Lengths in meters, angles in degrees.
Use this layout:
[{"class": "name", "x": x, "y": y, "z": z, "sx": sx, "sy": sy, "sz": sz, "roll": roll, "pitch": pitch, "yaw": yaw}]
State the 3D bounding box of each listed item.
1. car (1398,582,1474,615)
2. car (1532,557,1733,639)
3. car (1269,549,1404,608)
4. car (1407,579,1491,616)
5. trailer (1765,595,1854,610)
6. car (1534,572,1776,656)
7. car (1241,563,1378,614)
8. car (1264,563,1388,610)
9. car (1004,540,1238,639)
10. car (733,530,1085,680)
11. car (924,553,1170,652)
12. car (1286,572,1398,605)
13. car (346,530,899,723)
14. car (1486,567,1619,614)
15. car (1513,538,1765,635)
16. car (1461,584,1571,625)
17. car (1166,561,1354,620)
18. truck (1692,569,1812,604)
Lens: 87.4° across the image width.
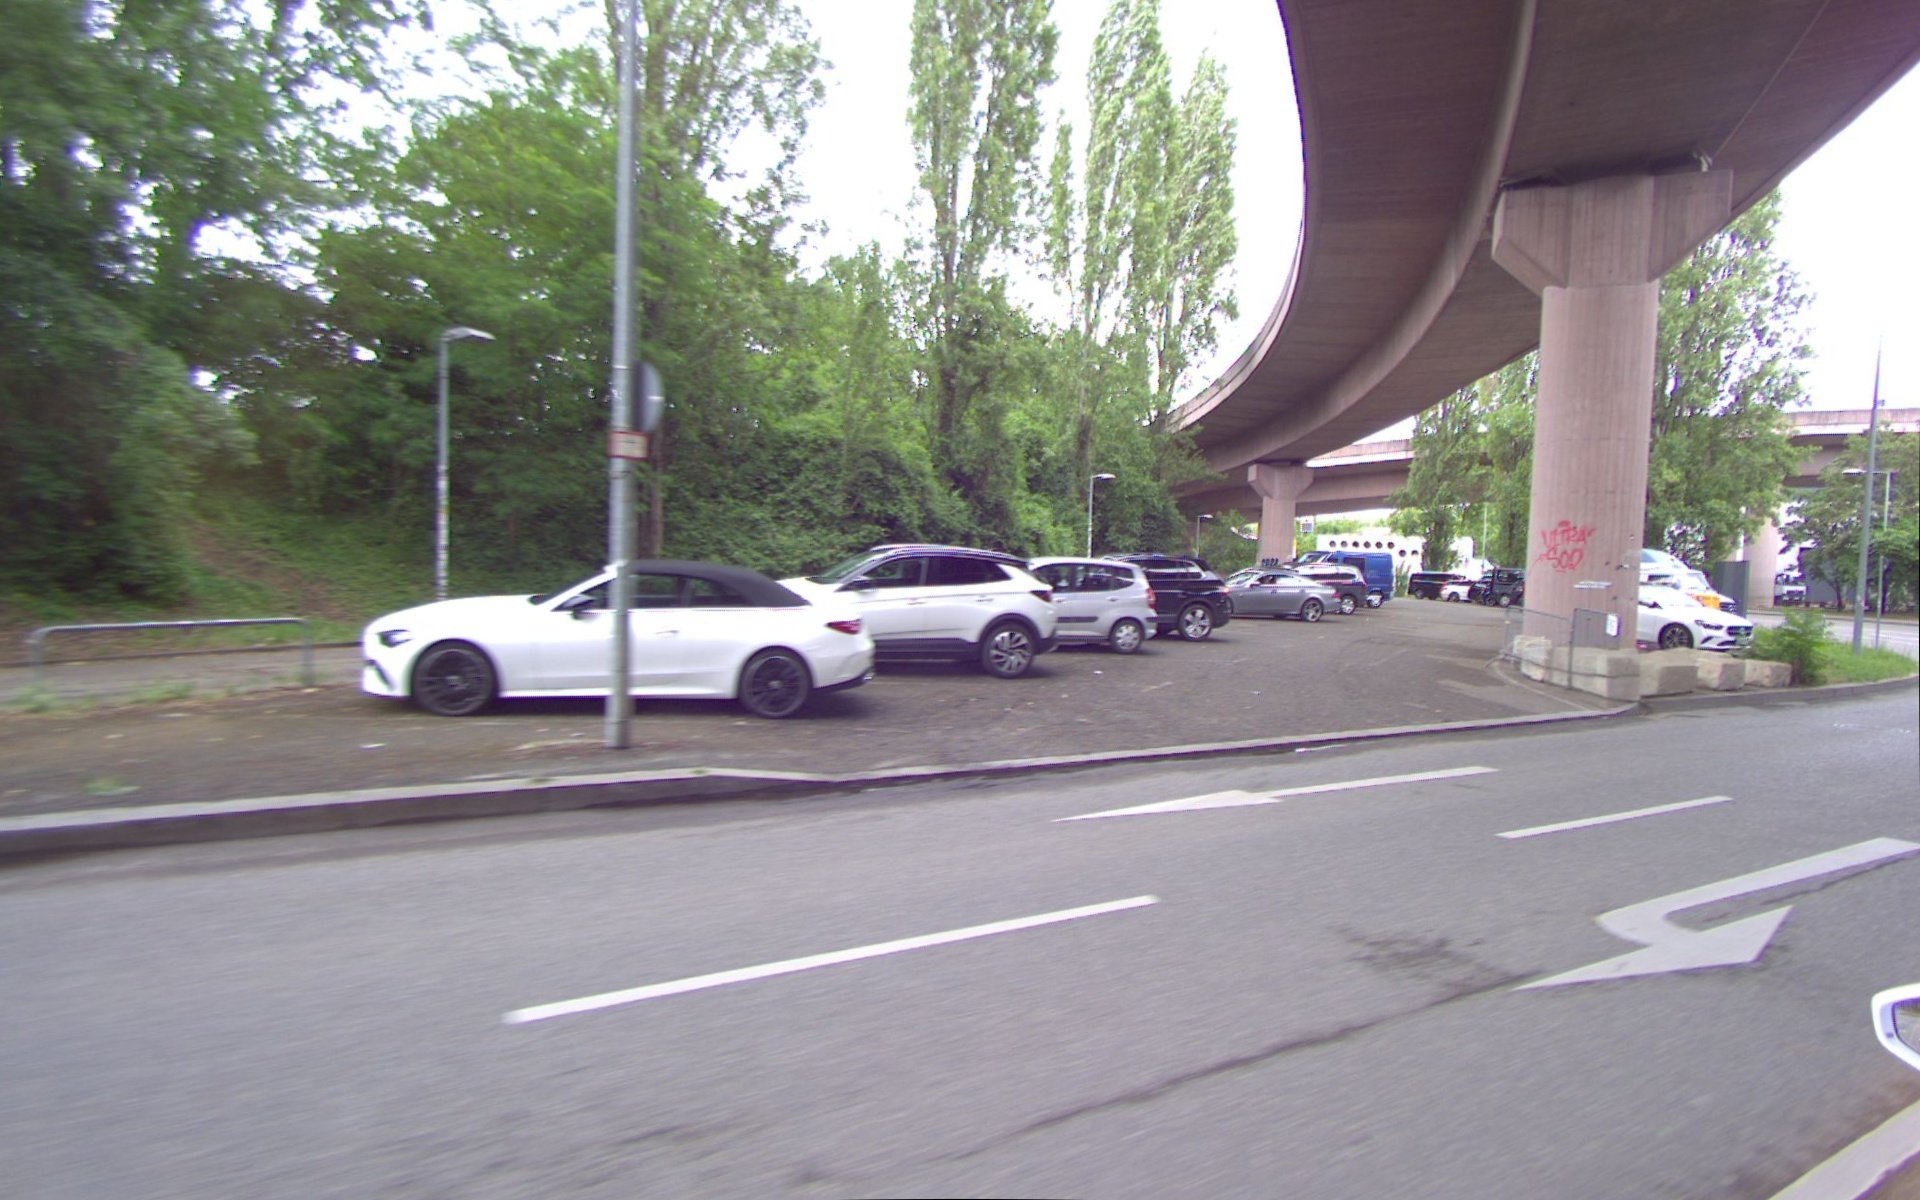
[{"class": "car", "x": 30.293, "y": -0.104, "z": 63.980, "sx": 3.942, "sy": 2.041, "sz": 1.989, "roll": 1, "pitch": 1, "yaw": 42}, {"class": "car", "x": 19.721, "y": -0.130, "z": 29.686, "sx": 1.828, "sy": 2.140, "sz": 4.536, "roll": 1, "pitch": 3, "yaw": -28}, {"class": "car", "x": 15.488, "y": -0.867, "z": 41.382, "sx": 4.936, "sy": 2.285, "sz": 2.117, "roll": 1, "pitch": 1, "yaw": -16}, {"class": "car", "x": 28.144, "y": -0.152, "z": 57.813, "sx": 3.942, "sy": 2.041, "sz": 1.989, "roll": 1, "pitch": 1, "yaw": 42}, {"class": "trailer", "x": 59.491, "y": 0.155, "z": 70.524, "sx": 2.112, "sy": 0.753, "sz": 6.296, "roll": -2, "pitch": 1, "yaw": 13}, {"class": "car", "x": 16.604, "y": 0.260, "z": 24.279, "sx": 1.927, "sy": 1.628, "sz": 4.368, "roll": 1, "pitch": 4, "yaw": -24}, {"class": "car", "x": 12.076, "y": -0.388, "z": 34.823, "sx": 4.081, "sy": 1.698, "sz": 1.897, "roll": 1, "pitch": 1, "yaw": -12}, {"class": "car", "x": 13.930, "y": -0.512, "z": 38.303, "sx": 4.083, "sy": 1.698, "sz": 1.896, "roll": 1, "pitch": 1, "yaw": -13}, {"class": "car", "x": 3.101, "y": -0.205, "z": 19.687, "sx": 4.093, "sy": 1.714, "sz": 1.857, "roll": 2, "pitch": 2, "yaw": -14}, {"class": "car", "x": -0.755, "y": 0.050, "z": 13.506, "sx": 4.329, "sy": 1.604, "sz": 1.992, "roll": 3, "pitch": 5, "yaw": -16}, {"class": "car", "x": 1.399, "y": 0.026, "z": 16.728, "sx": 3.683, "sy": 1.473, "sz": 1.787, "roll": 1, "pitch": 2, "yaw": -14}, {"class": "car", "x": 17.834, "y": -0.543, "z": 46.995, "sx": 4.566, "sy": 1.454, "sz": 1.995, "roll": 1, "pitch": 0, "yaw": -13}, {"class": "car", "x": -3.198, "y": 0.250, "z": 10.174, "sx": 4.751, "sy": 1.500, "sz": 1.992, "roll": 3, "pitch": 5, "yaw": -17}, {"class": "car", "x": 28.795, "y": -0.516, "z": 48.991, "sx": 2.235, "sy": 2.099, "sz": 5.060, "roll": 2, "pitch": 1, "yaw": -33}, {"class": "car", "x": 21.416, "y": -0.552, "z": 32.065, "sx": 2.341, "sy": 2.762, "sz": 6.141, "roll": 0, "pitch": 3, "yaw": -31}, {"class": "car", "x": 24.738, "y": 0.179, "z": 44.726, "sx": 3.942, "sy": 1.753, "sz": 1.989, "roll": 1, "pitch": 1, "yaw": 42}, {"class": "car", "x": 8.512, "y": -0.273, "z": 28.616, "sx": 4.805, "sy": 1.508, "sz": 1.857, "roll": 1, "pitch": 4, "yaw": -14}, {"class": "truck", "x": 61.589, "y": -1.092, "z": 78.326, "sx": 2.678, "sy": 2.586, "sz": 7.210, "roll": 0, "pitch": 1, "yaw": -13}]
